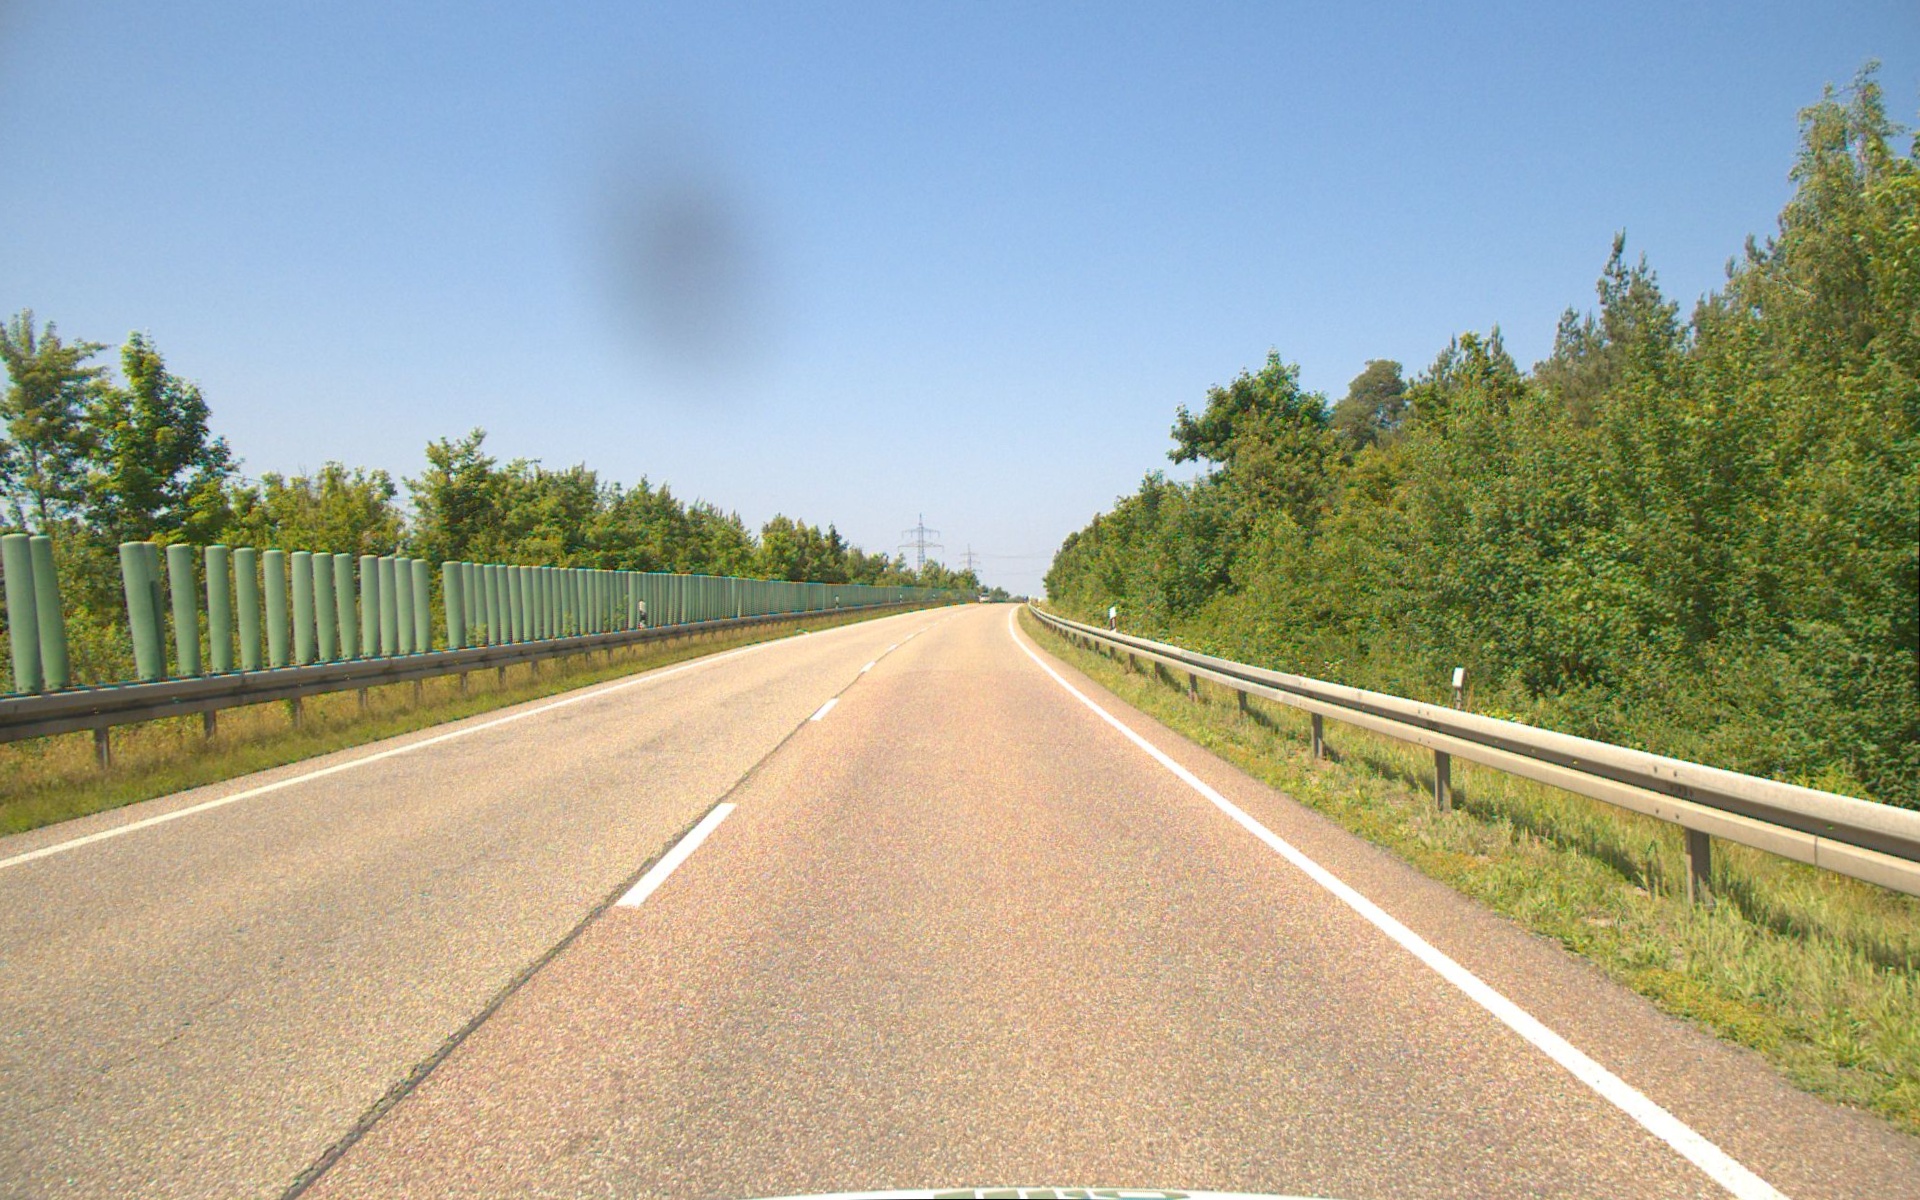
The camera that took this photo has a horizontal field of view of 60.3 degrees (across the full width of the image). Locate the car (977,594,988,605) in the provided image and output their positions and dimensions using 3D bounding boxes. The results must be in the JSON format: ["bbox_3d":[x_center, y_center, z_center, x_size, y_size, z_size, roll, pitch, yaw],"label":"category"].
[{"bbox_3d":[3.373,-0.064,247.056,1.684,1.527,4.249,0,0,2],"label":"car"}]
